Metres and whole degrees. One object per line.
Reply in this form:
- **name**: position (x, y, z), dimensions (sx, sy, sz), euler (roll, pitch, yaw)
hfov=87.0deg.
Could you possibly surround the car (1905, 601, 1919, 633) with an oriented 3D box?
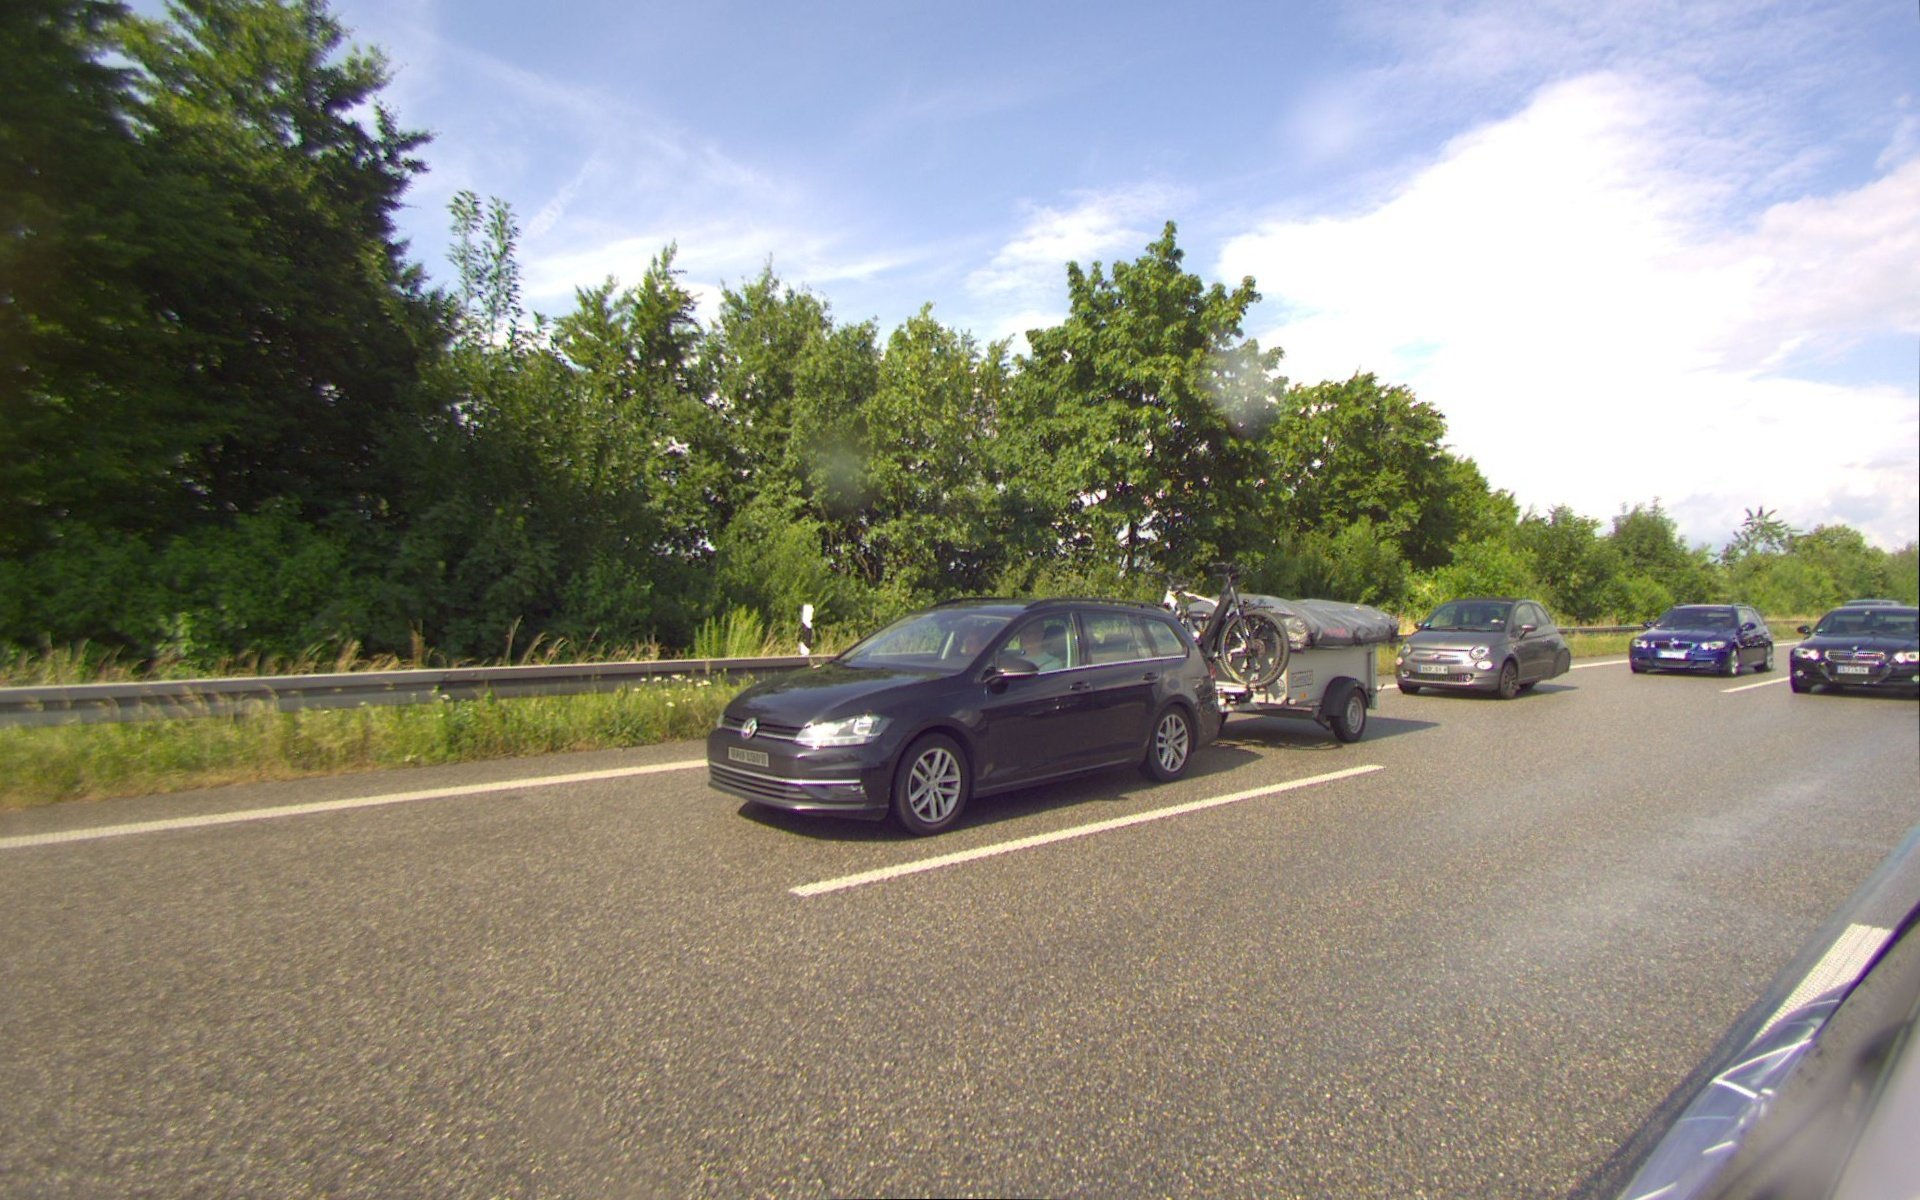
- **car**: position (50.143, 0.846, 52.050), dimensions (3.931, 1.594, 1.866), euler (0, 1, -42)

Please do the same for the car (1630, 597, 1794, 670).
- **car**: position (15.831, 0.624, 21.222), dimensions (4.499, 1.368, 1.770), euler (0, 1, -40)

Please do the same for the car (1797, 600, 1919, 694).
- **car**: position (15.285, 0.708, 16.629), dimensions (3.815, 1.371, 1.721), euler (0, 0, -40)

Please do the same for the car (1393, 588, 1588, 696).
- **car**: position (8.410, 0.582, 15.943), dimensions (3.421, 1.507, 1.614), euler (0, 1, -42)

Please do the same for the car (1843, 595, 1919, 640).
- **car**: position (34.085, 0.595, 37.158), dimensions (4.176, 1.509, 1.997), euler (0, 1, -42)

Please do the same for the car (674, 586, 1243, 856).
- **car**: position (0.247, 0.639, 7.610), dimensions (1.744, 1.449, 4.333), euler (1, 1, 45)

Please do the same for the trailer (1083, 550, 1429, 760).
- **trailer**: position (3.211, 0.462, 10.556), dimensions (3.903, 1.768, 1.806), euler (0, 0, -45)
